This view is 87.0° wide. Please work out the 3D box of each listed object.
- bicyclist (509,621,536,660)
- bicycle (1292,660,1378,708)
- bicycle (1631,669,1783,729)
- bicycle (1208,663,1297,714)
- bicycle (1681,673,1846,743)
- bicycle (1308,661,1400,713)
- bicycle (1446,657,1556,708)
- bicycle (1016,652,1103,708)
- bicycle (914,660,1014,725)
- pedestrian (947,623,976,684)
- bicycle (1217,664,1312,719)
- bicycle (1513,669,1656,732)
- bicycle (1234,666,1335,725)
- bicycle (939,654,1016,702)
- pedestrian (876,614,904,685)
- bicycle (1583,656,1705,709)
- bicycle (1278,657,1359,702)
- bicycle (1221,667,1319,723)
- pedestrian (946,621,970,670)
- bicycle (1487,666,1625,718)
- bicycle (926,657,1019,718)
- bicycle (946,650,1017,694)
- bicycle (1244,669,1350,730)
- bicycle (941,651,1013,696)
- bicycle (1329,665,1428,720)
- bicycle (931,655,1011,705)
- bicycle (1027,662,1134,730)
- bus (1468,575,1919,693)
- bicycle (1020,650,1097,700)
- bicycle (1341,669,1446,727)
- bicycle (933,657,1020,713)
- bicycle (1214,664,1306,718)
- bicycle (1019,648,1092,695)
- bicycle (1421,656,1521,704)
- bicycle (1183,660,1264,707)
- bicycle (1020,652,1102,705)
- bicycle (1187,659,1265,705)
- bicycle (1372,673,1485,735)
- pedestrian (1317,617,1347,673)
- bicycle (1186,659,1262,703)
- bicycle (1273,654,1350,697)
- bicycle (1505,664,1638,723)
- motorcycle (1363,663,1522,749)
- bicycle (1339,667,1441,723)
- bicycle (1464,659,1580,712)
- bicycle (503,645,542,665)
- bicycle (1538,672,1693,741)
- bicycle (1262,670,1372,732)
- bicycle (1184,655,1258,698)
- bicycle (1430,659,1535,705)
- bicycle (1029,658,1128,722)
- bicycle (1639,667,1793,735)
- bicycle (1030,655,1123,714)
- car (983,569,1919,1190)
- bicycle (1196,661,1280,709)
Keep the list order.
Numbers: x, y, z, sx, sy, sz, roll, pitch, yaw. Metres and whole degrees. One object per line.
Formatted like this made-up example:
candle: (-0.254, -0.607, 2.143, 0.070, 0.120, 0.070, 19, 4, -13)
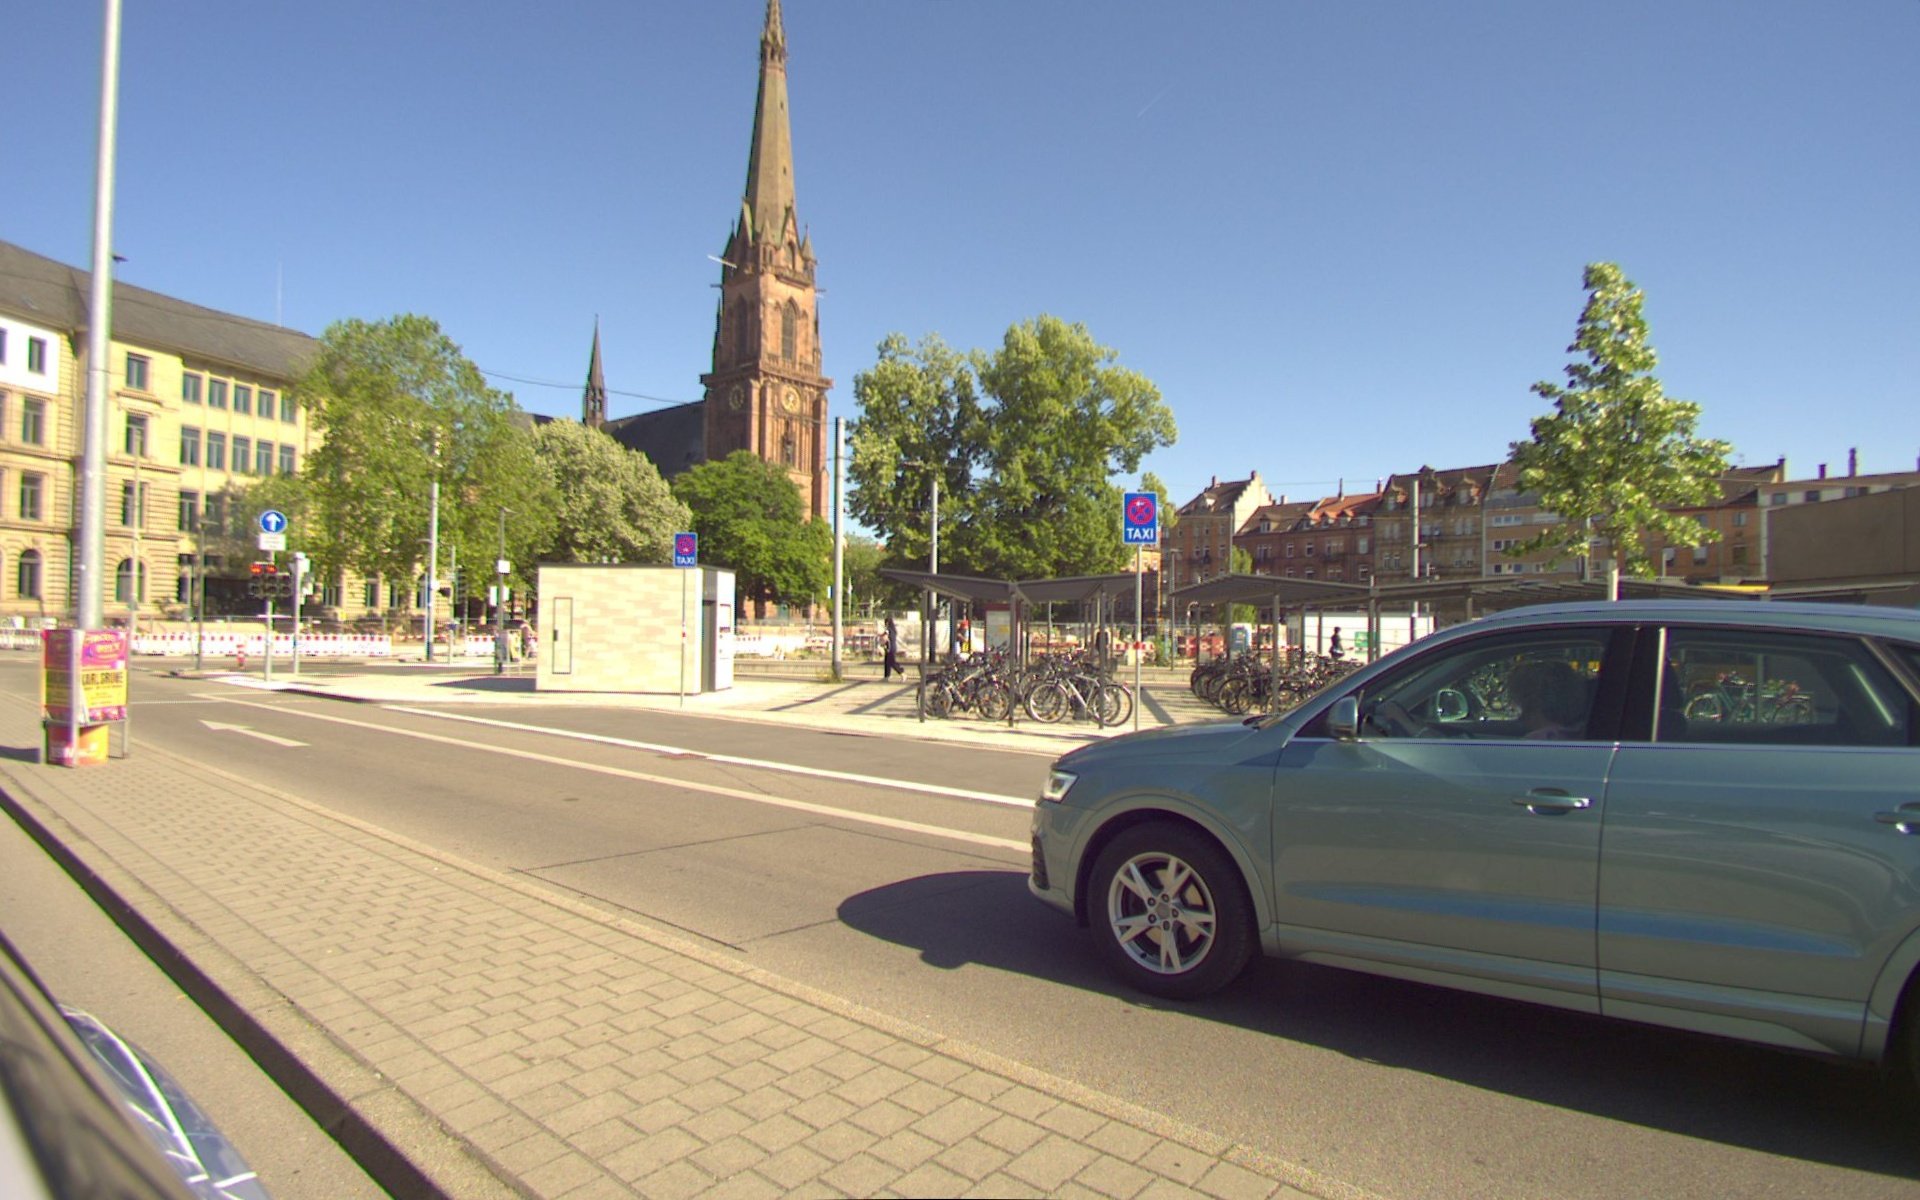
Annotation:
bicyclist: (-18.299, 1.683, 42.378, 0.731, 1.583, 0.886, 0, -2, 0)
bicycle: (7.993, 1.791, 21.615, 1.661, 0.980, 0.406, -1, 0, 3)
bicycle: (13.484, 1.782, 18.321, 2.117, 1.005, 0.690, -1, 0, 7)
bicycle: (5.929, 1.787, 20.556, 1.661, 0.980, 0.406, 1, -5, 3)
bicycle: (12.771, 1.716, 16.129, 2.048, 1.045, 0.533, -1, 0, 8)
bicycle: (7.862, 1.732, 20.221, 1.661, 0.980, 0.406, -1, 0, 3)
bicycle: (11.871, 1.803, 22.247, 2.048, 1.045, 0.533, -1, 2, 8)
bicycle: (2.057, 1.644, 20.965, 1.755, 1.083, 0.406, 1, 0, 6)
bicycle: (0.072, 1.576, 17.375, 1.663, 1.006, 0.406, 2, 0, 8)
pedestrian: (0.045, 1.441, 27.570, 0.694, 1.635, 0.619, 0, -2, 7)
bicycle: (5.819, 1.739, 19.367, 1.661, 0.980, 0.406, 1, 0, 3)
bicycle: (10.860, 1.741, 17.648, 2.048, 1.045, 0.533, -1, 0, 8)
bicycle: (5.820, 1.711, 18.180, 1.661, 0.980, 0.406, 1, 0, 3)
bicycle: (0.389, 1.707, 22.277, 1.663, 1.006, 0.406, 0, 0, 8)
pedestrian: (-1.877, 1.316, 27.132, 0.691, 1.874, 0.622, 0, -2, -11)
bicycle: (14.083, 1.698, 20.869, 2.048, 1.045, 0.533, -1, 0, 8)
bicycle: (8.078, 1.790, 22.830, 1.661, 0.980, 0.406, -1, 0, 3)
bicycle: (5.733, 1.752, 18.760, 1.661, 0.980, 0.406, -1, 0, 3)
pedestrian: (-0.061, 1.734, 38.963, 0.610, 1.874, 0.703, 2, -2, -39)
bicycle: (11.619, 1.800, 19.782, 2.208, 0.951, 0.685, -1, 0, 7)
bicycle: (0.236, 1.599, 18.594, 1.663, 1.006, 0.406, 2, 0, 8)
bicycle: (0.522, 1.704, 24.180, 1.663, 1.006, 0.406, 0, 0, 8)
bicycle: (5.798, 1.711, 17.455, 1.661, 0.980, 0.406, 1, 0, 3)
bicycle: (0.398, 1.703, 23.655, 1.663, 1.006, 0.406, 0, 0, 8)
bicycle: (7.847, 1.732, 19.005, 1.661, 0.980, 0.406, -1, 0, 3)
bicycle: (0.234, 1.678, 21.397, 1.663, 1.006, 0.406, 0, 0, 8)
bicycle: (2.026, 1.608, 17.085, 1.753, 1.083, 0.406, 1, -3, 6)
bus: (22.044, 0.935, 28.628, 13.462, 3.095, 2.859, 0, -2, 6)
bicycle: (2.277, 1.733, 23.491, 1.755, 1.083, 0.406, 1, 0, 6)
bicycle: (7.647, 1.727, 17.884, 1.661, 0.980, 0.406, -1, 0, 3)
bicycle: (0.333, 1.666, 19.937, 1.663, 1.006, 0.406, 2, 0, 8)
bicycle: (5.906, 1.782, 19.950, 1.661, 0.980, 0.406, 1, 0, 3)
bicycle: (2.319, 1.725, 24.670, 1.755, 1.083, 0.406, 1, 0, 6)
bicycle: (12.305, 1.921, 24.421, 2.048, 1.045, 0.533, 1, 3, 8)
bicycle: (5.791, 1.839, 22.288, 1.661, 0.980, 0.406, 1, -5, 3)
bicycle: (2.198, 1.696, 22.021, 1.755, 1.083, 0.406, 1, 0, 6)
bicycle: (6.058, 1.862, 23.043, 1.661, 0.980, 0.406, 1, -5, 3)
bicycle: (7.772, 1.725, 16.813, 1.661, 0.980, 0.406, -1, 0, 3)
pedestrian: (13.068, 1.586, 35.533, 0.793, 1.931, 0.769, 0, -2, 4)
bicycle: (6.142, 1.883, 23.616, 1.661, 0.980, 0.406, 1, -5, 3)
bicycle: (8.296, 1.787, 23.907, 1.661, 0.980, 0.406, -1, 0, 3)
bicycle: (11.326, 1.735, 18.804, 2.048, 1.045, 0.533, -1, 0, 8)
motorcycle: (7.197, 1.572, 15.152, 2.059, 1.228, 0.569, -1, -2, 3)
bicycle: (7.827, 1.724, 18.452, 1.661, 0.980, 0.406, -1, 0, 3)
bicycle: (11.781, 1.797, 21.256, 2.048, 1.045, 0.533, -1, 2, 8)
bicycle: (-18.300, 2.299, 42.373, 0.731, 0.788, 2.052, 0, -2, 0)
bicycle: (10.577, 1.713, 16.381, 2.048, 1.045, 0.533, -1, 0, 8)
bicycle: (5.938, 1.686, 16.882, 1.661, 0.980, 0.406, -1, 0, 3)
bicycle: (6.261, 1.838, 24.304, 1.661, 0.980, 0.406, 1, -5, 3)
bicycle: (12.036, 1.881, 23.366, 2.048, 1.045, 0.533, -1, -4, 8)
bicycle: (2.144, 1.618, 18.329, 1.753, 1.083, 0.406, 1, 0, 6)
bicycle: (12.773, 1.701, 17.135, 2.030, 1.087, 0.604, -1, 0, 7)
bicycle: (2.240, 1.622, 19.575, 1.755, 1.083, 0.406, 1, 0, 6)
car: (2.339, 0.771, 3.817, 4.248, 1.594, 1.772, -1, -4, 36)
bicycle: (5.930, 1.807, 21.632, 1.661, 0.980, 0.406, 1, -5, 3)
